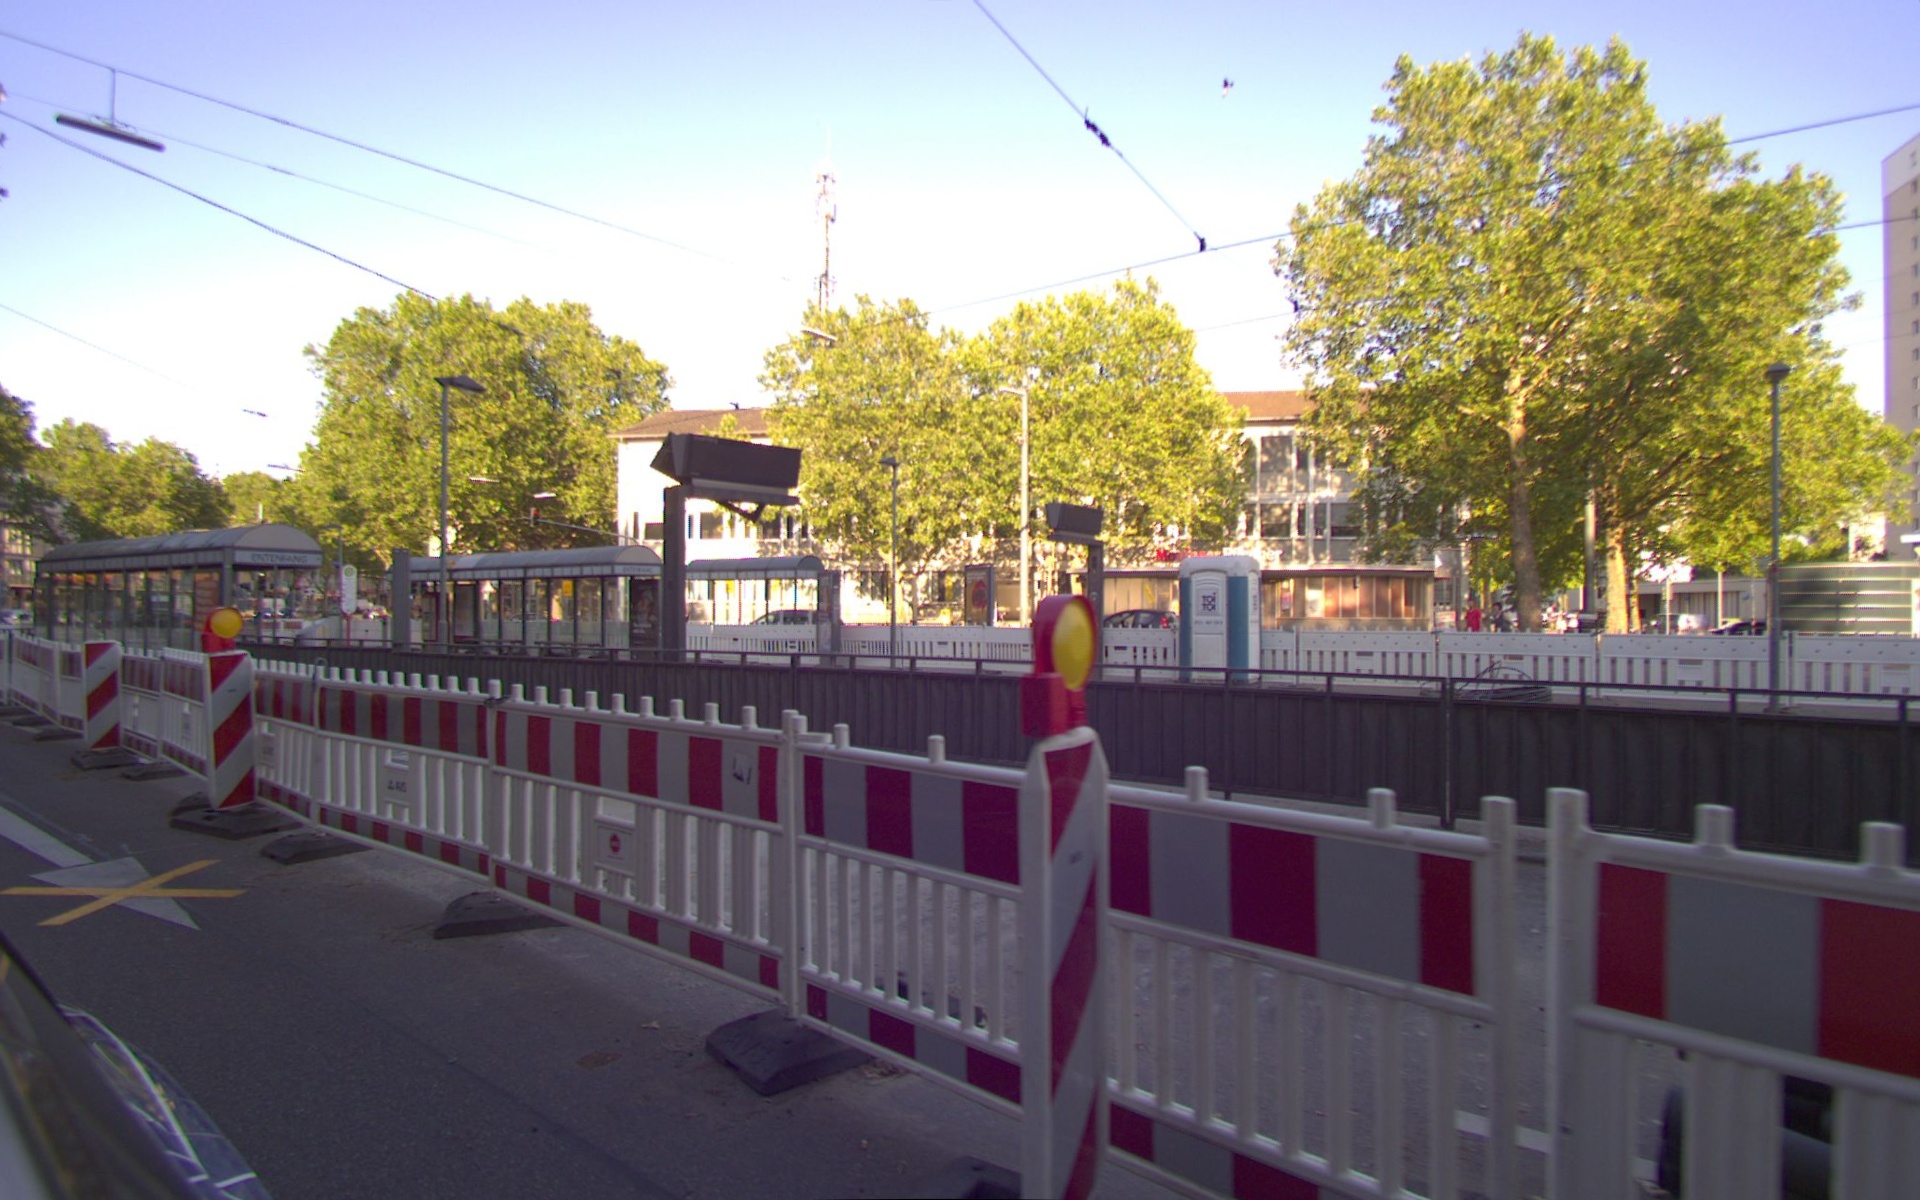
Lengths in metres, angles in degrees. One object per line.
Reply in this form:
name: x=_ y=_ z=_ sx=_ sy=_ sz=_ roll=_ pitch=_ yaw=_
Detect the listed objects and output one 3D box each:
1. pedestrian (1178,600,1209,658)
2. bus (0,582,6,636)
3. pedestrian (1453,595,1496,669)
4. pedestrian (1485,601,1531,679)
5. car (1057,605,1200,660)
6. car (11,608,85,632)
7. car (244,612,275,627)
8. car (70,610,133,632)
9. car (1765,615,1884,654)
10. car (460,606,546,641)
pedestrian: x=8.365 y=1.035 z=36.248 sx=0.884 sy=2.029 sz=0.874 roll=-1 pitch=-1 yaw=31
bus: x=-55.868 y=0.489 z=55.606 sx=2.694 sy=3.231 sz=12.396 roll=-2 pitch=0 yaw=-33
pedestrian: x=14.586 y=0.894 z=28.687 sx=0.883 sy=2.029 sz=0.875 roll=-1 pitch=-1 yaw=42
pedestrian: x=14.627 y=1.051 z=27.002 sx=0.883 sy=2.029 sz=0.875 roll=-1 pitch=-1 yaw=42
car: x=5.111 y=0.963 z=30.920 sx=3.963 sy=1.578 sz=1.788 roll=-1 pitch=-1 yaw=37
car: x=-63.201 y=1.385 z=70.240 sx=1.966 sy=1.608 sz=4.574 roll=0 pitch=0 yaw=-15
car: x=-75.067 y=2.069 z=108.428 sx=1.677 sy=1.599 sz=3.718 roll=0 pitch=0 yaw=-17
car: x=-65.916 y=1.591 z=77.783 sx=1.966 sy=1.608 sz=4.574 roll=0 pitch=-1 yaw=-15
car: x=46.620 y=1.831 z=54.657 sx=4.395 sy=2.029 sz=1.994 roll=0 pitch=-1 yaw=10
car: x=-21.067 y=1.069 z=46.721 sx=3.361 sy=1.586 sz=1.674 roll=-1 pitch=-1 yaw=16
